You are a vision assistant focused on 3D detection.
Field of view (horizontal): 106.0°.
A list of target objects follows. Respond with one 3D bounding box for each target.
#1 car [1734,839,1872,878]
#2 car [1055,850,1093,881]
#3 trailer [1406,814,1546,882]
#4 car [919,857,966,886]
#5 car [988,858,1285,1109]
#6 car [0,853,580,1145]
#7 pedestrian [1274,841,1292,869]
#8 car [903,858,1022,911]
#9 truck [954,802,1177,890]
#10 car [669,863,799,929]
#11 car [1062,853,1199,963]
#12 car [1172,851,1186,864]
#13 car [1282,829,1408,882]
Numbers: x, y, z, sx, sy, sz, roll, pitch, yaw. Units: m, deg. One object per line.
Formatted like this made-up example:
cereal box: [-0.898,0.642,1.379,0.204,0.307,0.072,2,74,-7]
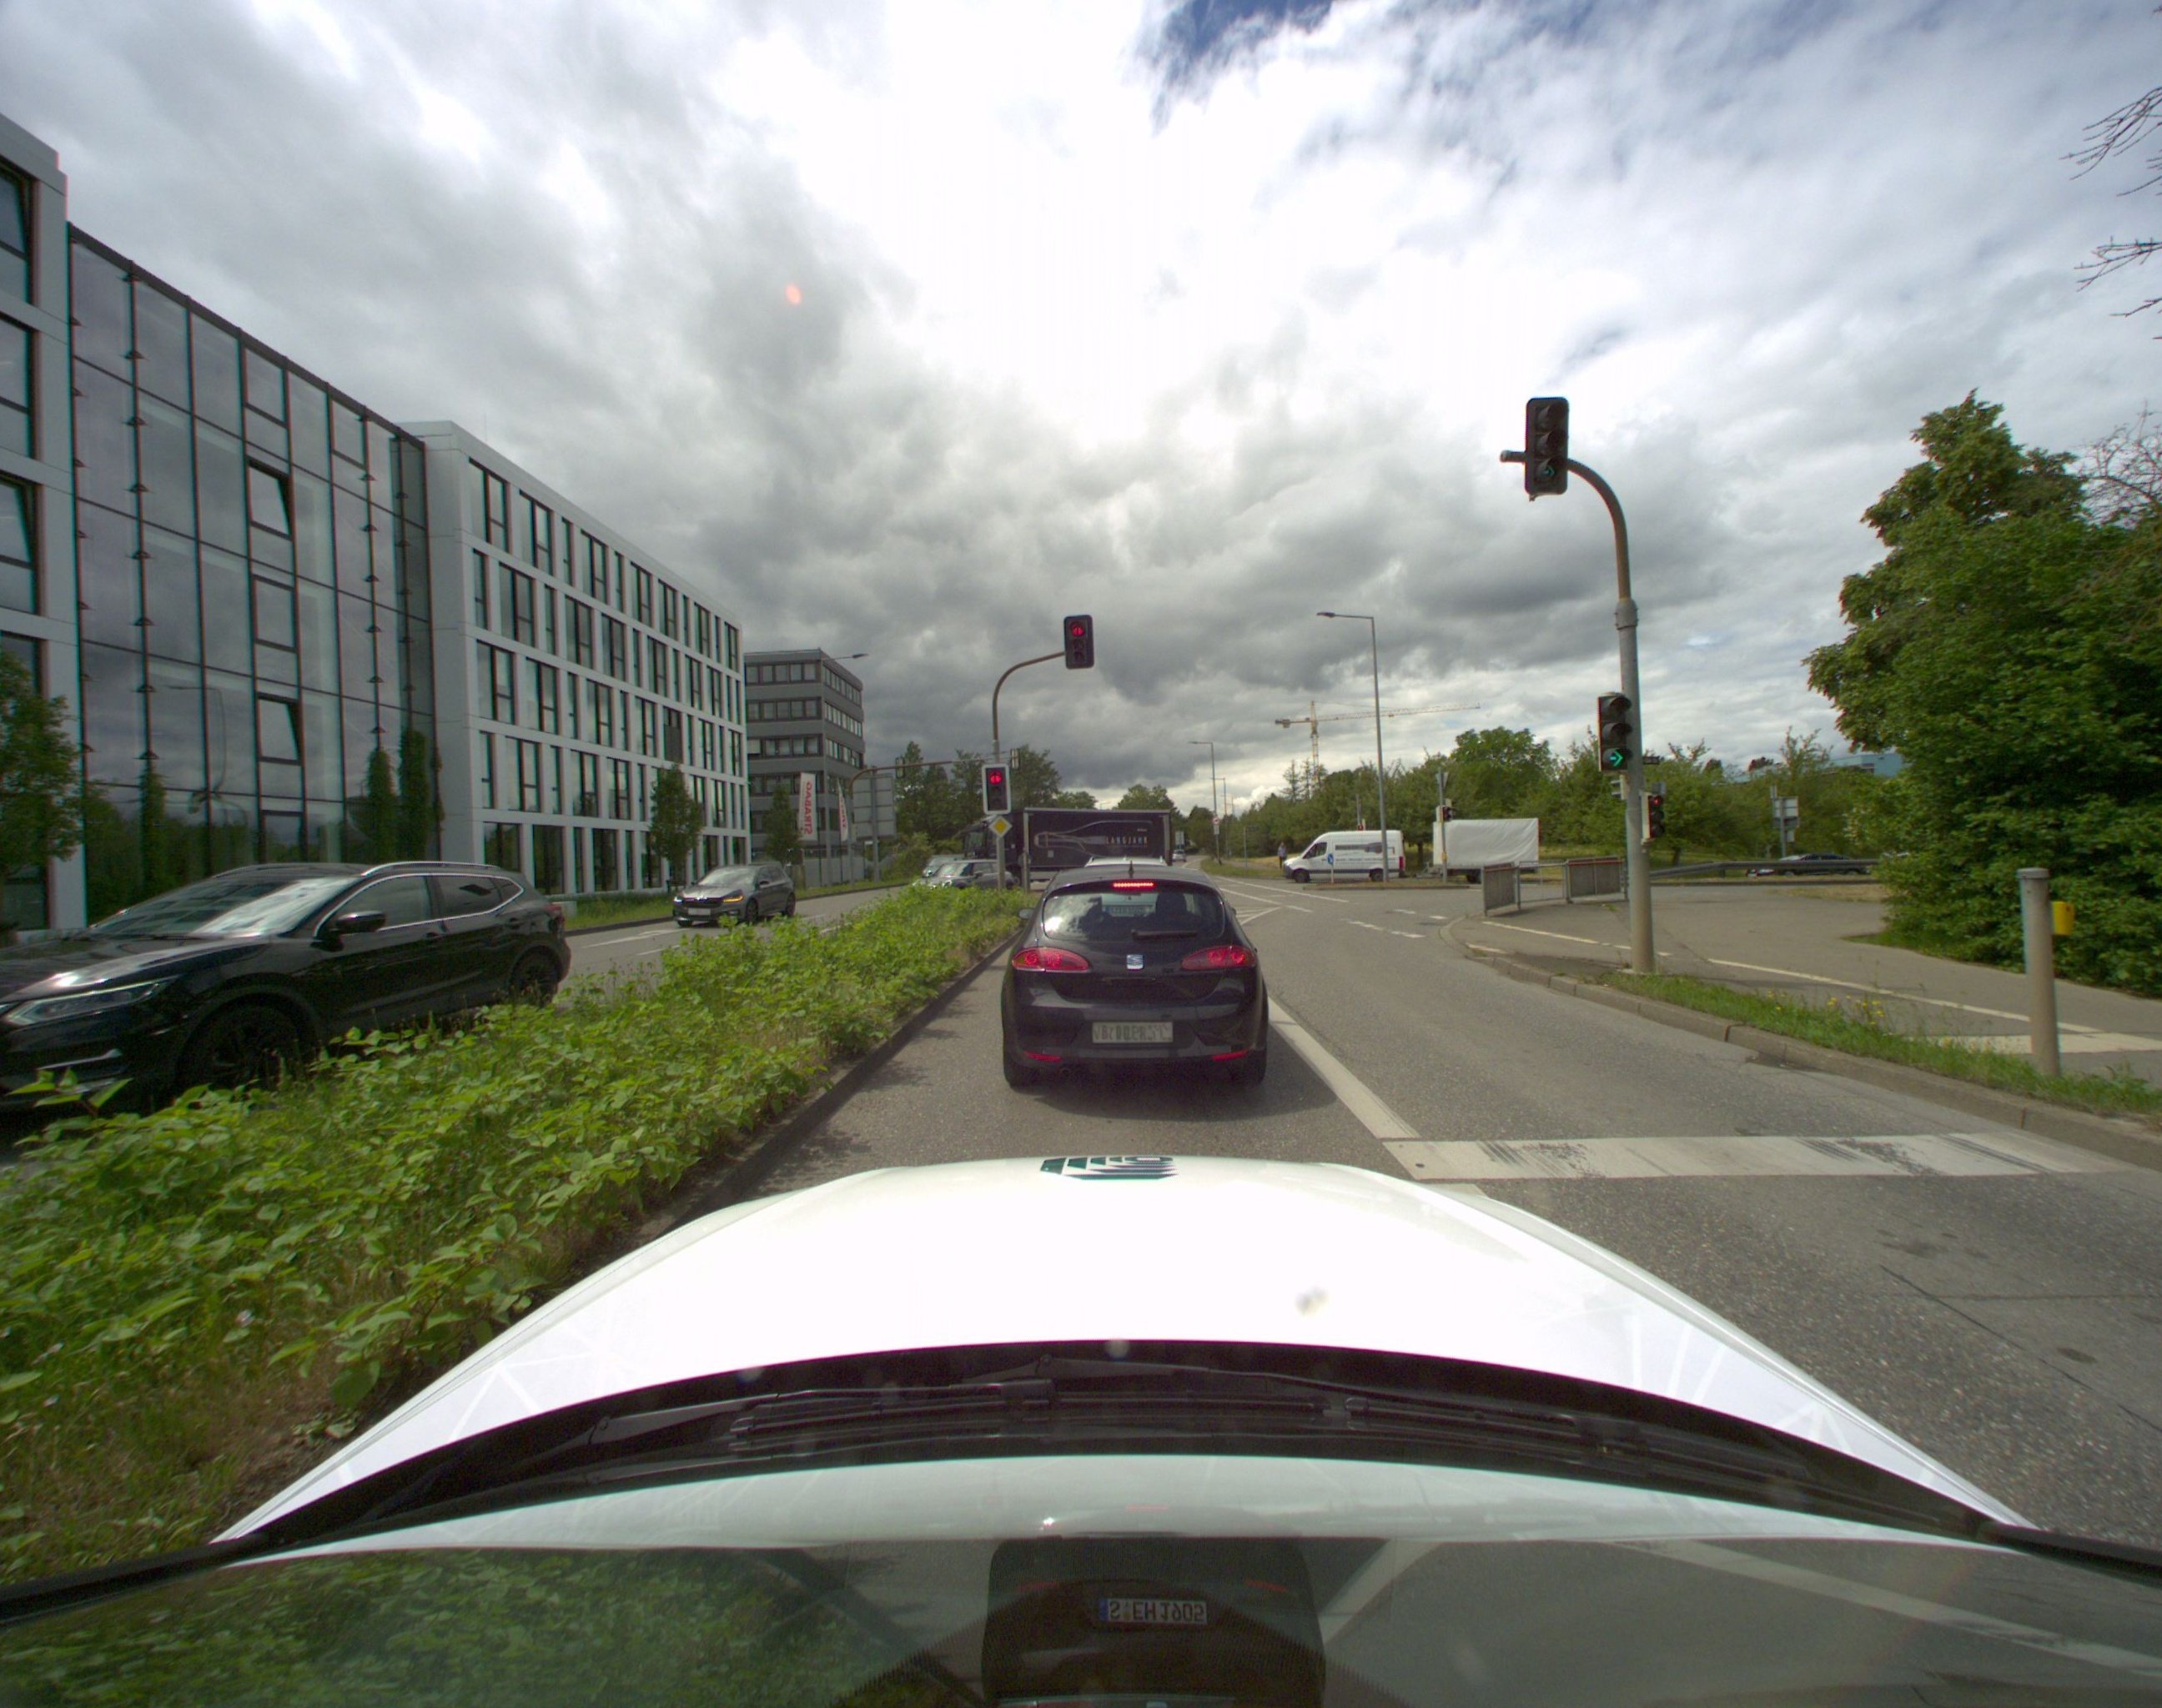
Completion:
car: [32.893,0.185,37.195,4.438,1.565,2.002,-2,0,3]
car: [-0.358,0.606,46.374,1.812,1.686,4.650,0,0,4]
trailer: [18.660,-0.232,38.770,5.531,3.073,2.508,-1,-1,12]
car: [-7.402,0.923,43.885,1.598,1.432,3.757,-1,0,4]
car: [0.382,0.762,6.469,1.704,1.417,3.461,-1,0,2]
car: [-6.201,0.841,6.555,1.689,1.602,4.045,-2,-1,2]
pedestrian: [12.875,0.078,51.899,0.719,1.793,1.038,0,-1,-16]
car: [-3.533,0.884,24.885,1.673,1.430,3.658,-2,0,29]
truck: [-0.577,-0.346,36.060,9.551,3.518,3.149,0,0,-29]
car: [-8.536,0.968,20.379,1.548,1.383,3.780,-2,0,1]
car: [0.762,0.740,12.834,1.827,1.467,3.754,0,-1,3]
car: [12.821,0.439,106.488,1.658,1.596,4.008,0,-1,8]
car: [13.114,0.089,40.460,5.765,2.518,2.145,-1,-1,21]
